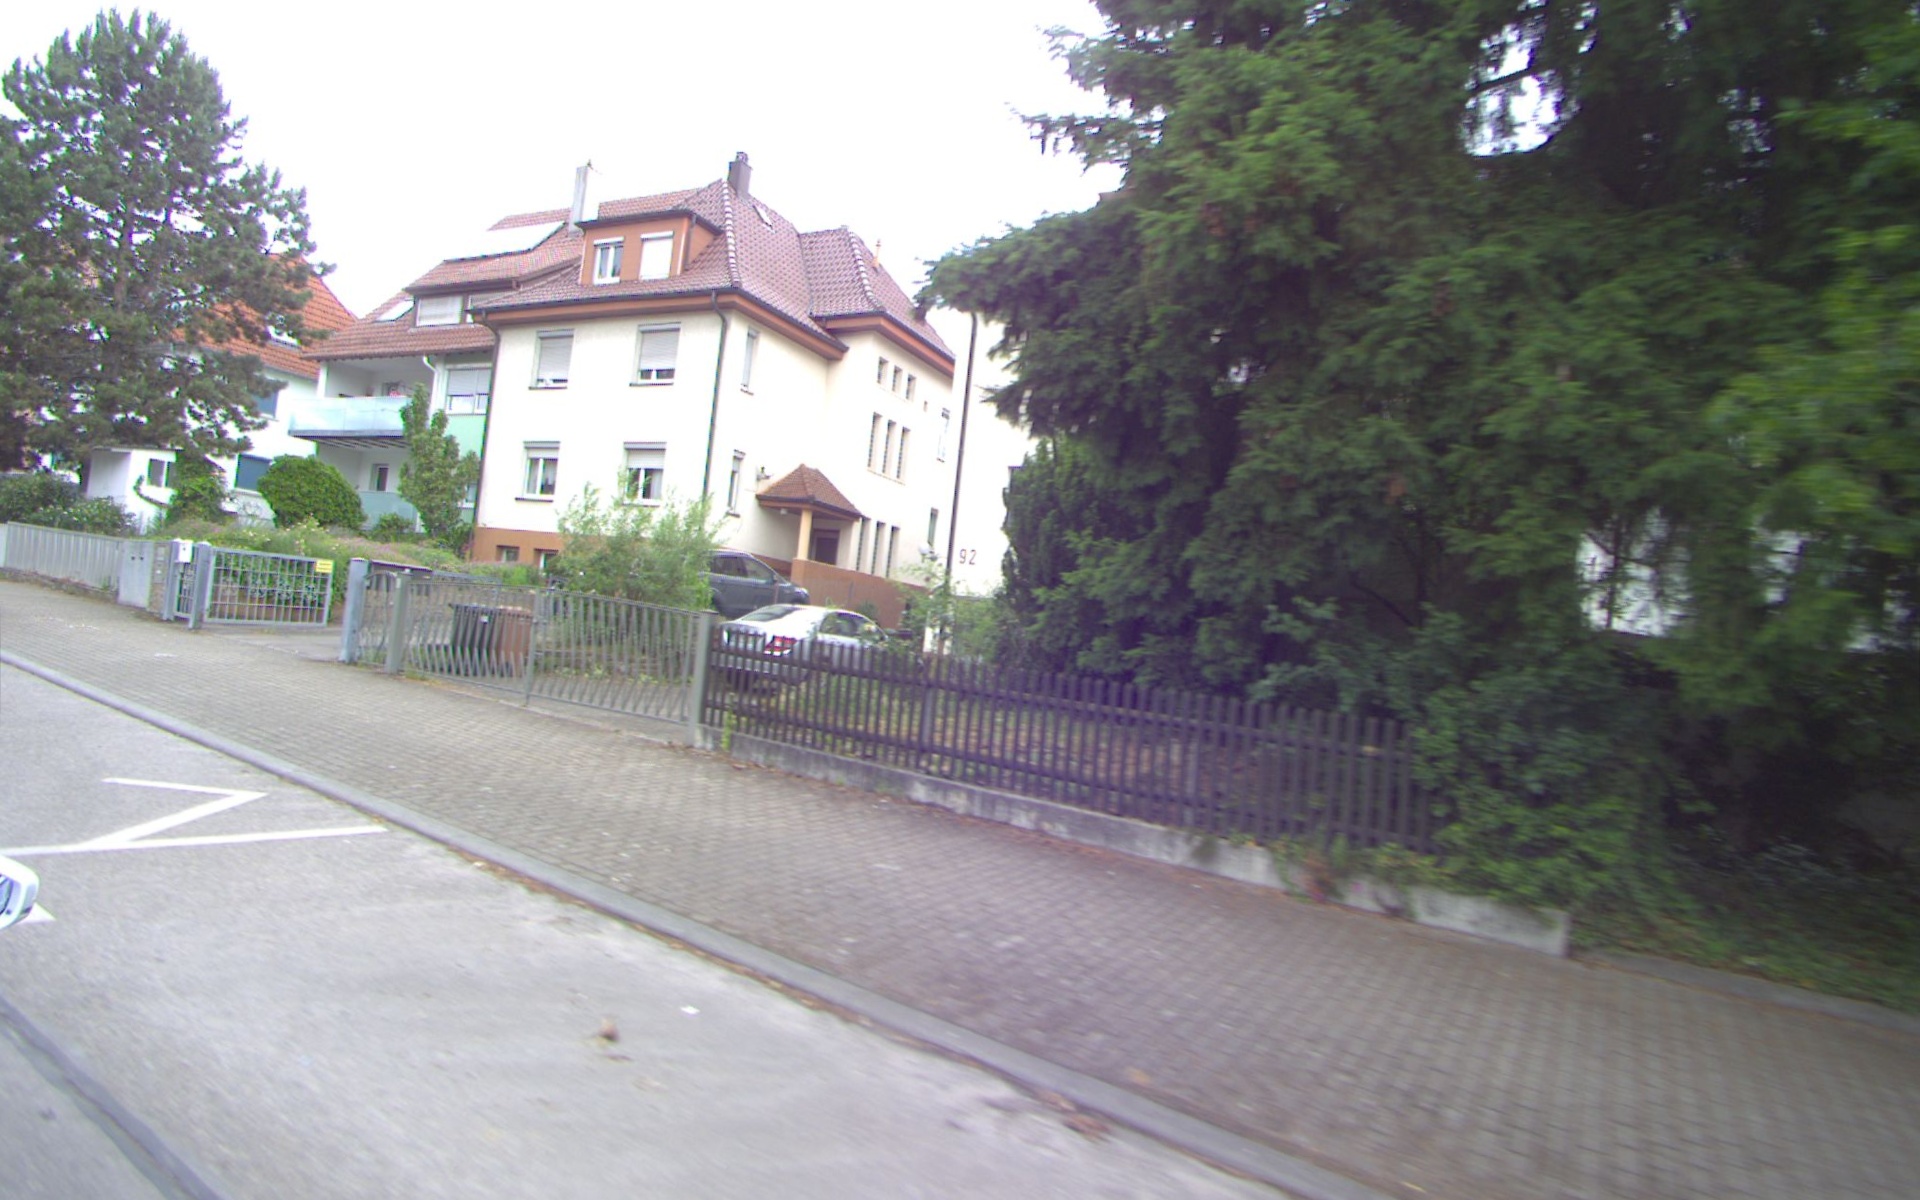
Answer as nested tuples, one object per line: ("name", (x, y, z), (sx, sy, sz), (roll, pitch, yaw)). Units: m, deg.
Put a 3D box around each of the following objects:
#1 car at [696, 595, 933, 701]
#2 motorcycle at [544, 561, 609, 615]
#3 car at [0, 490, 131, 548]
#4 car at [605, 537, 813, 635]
("car", (-2.264, 0.840, 16.665), (1.618, 1.409, 3.993), (6, -1, 31))
("motorcycle", (-7.960, -0.262, 20.909), (0.575, 1.061, 1.222), (4, 4, 21))
("car", (-27.905, -2.463, 30.276), (1.665, 1.526, 4.265), (5, 2, 25))
("car", (-4.960, -0.314, 20.404), (1.854, 1.727, 3.986), (4, 3, 29))
